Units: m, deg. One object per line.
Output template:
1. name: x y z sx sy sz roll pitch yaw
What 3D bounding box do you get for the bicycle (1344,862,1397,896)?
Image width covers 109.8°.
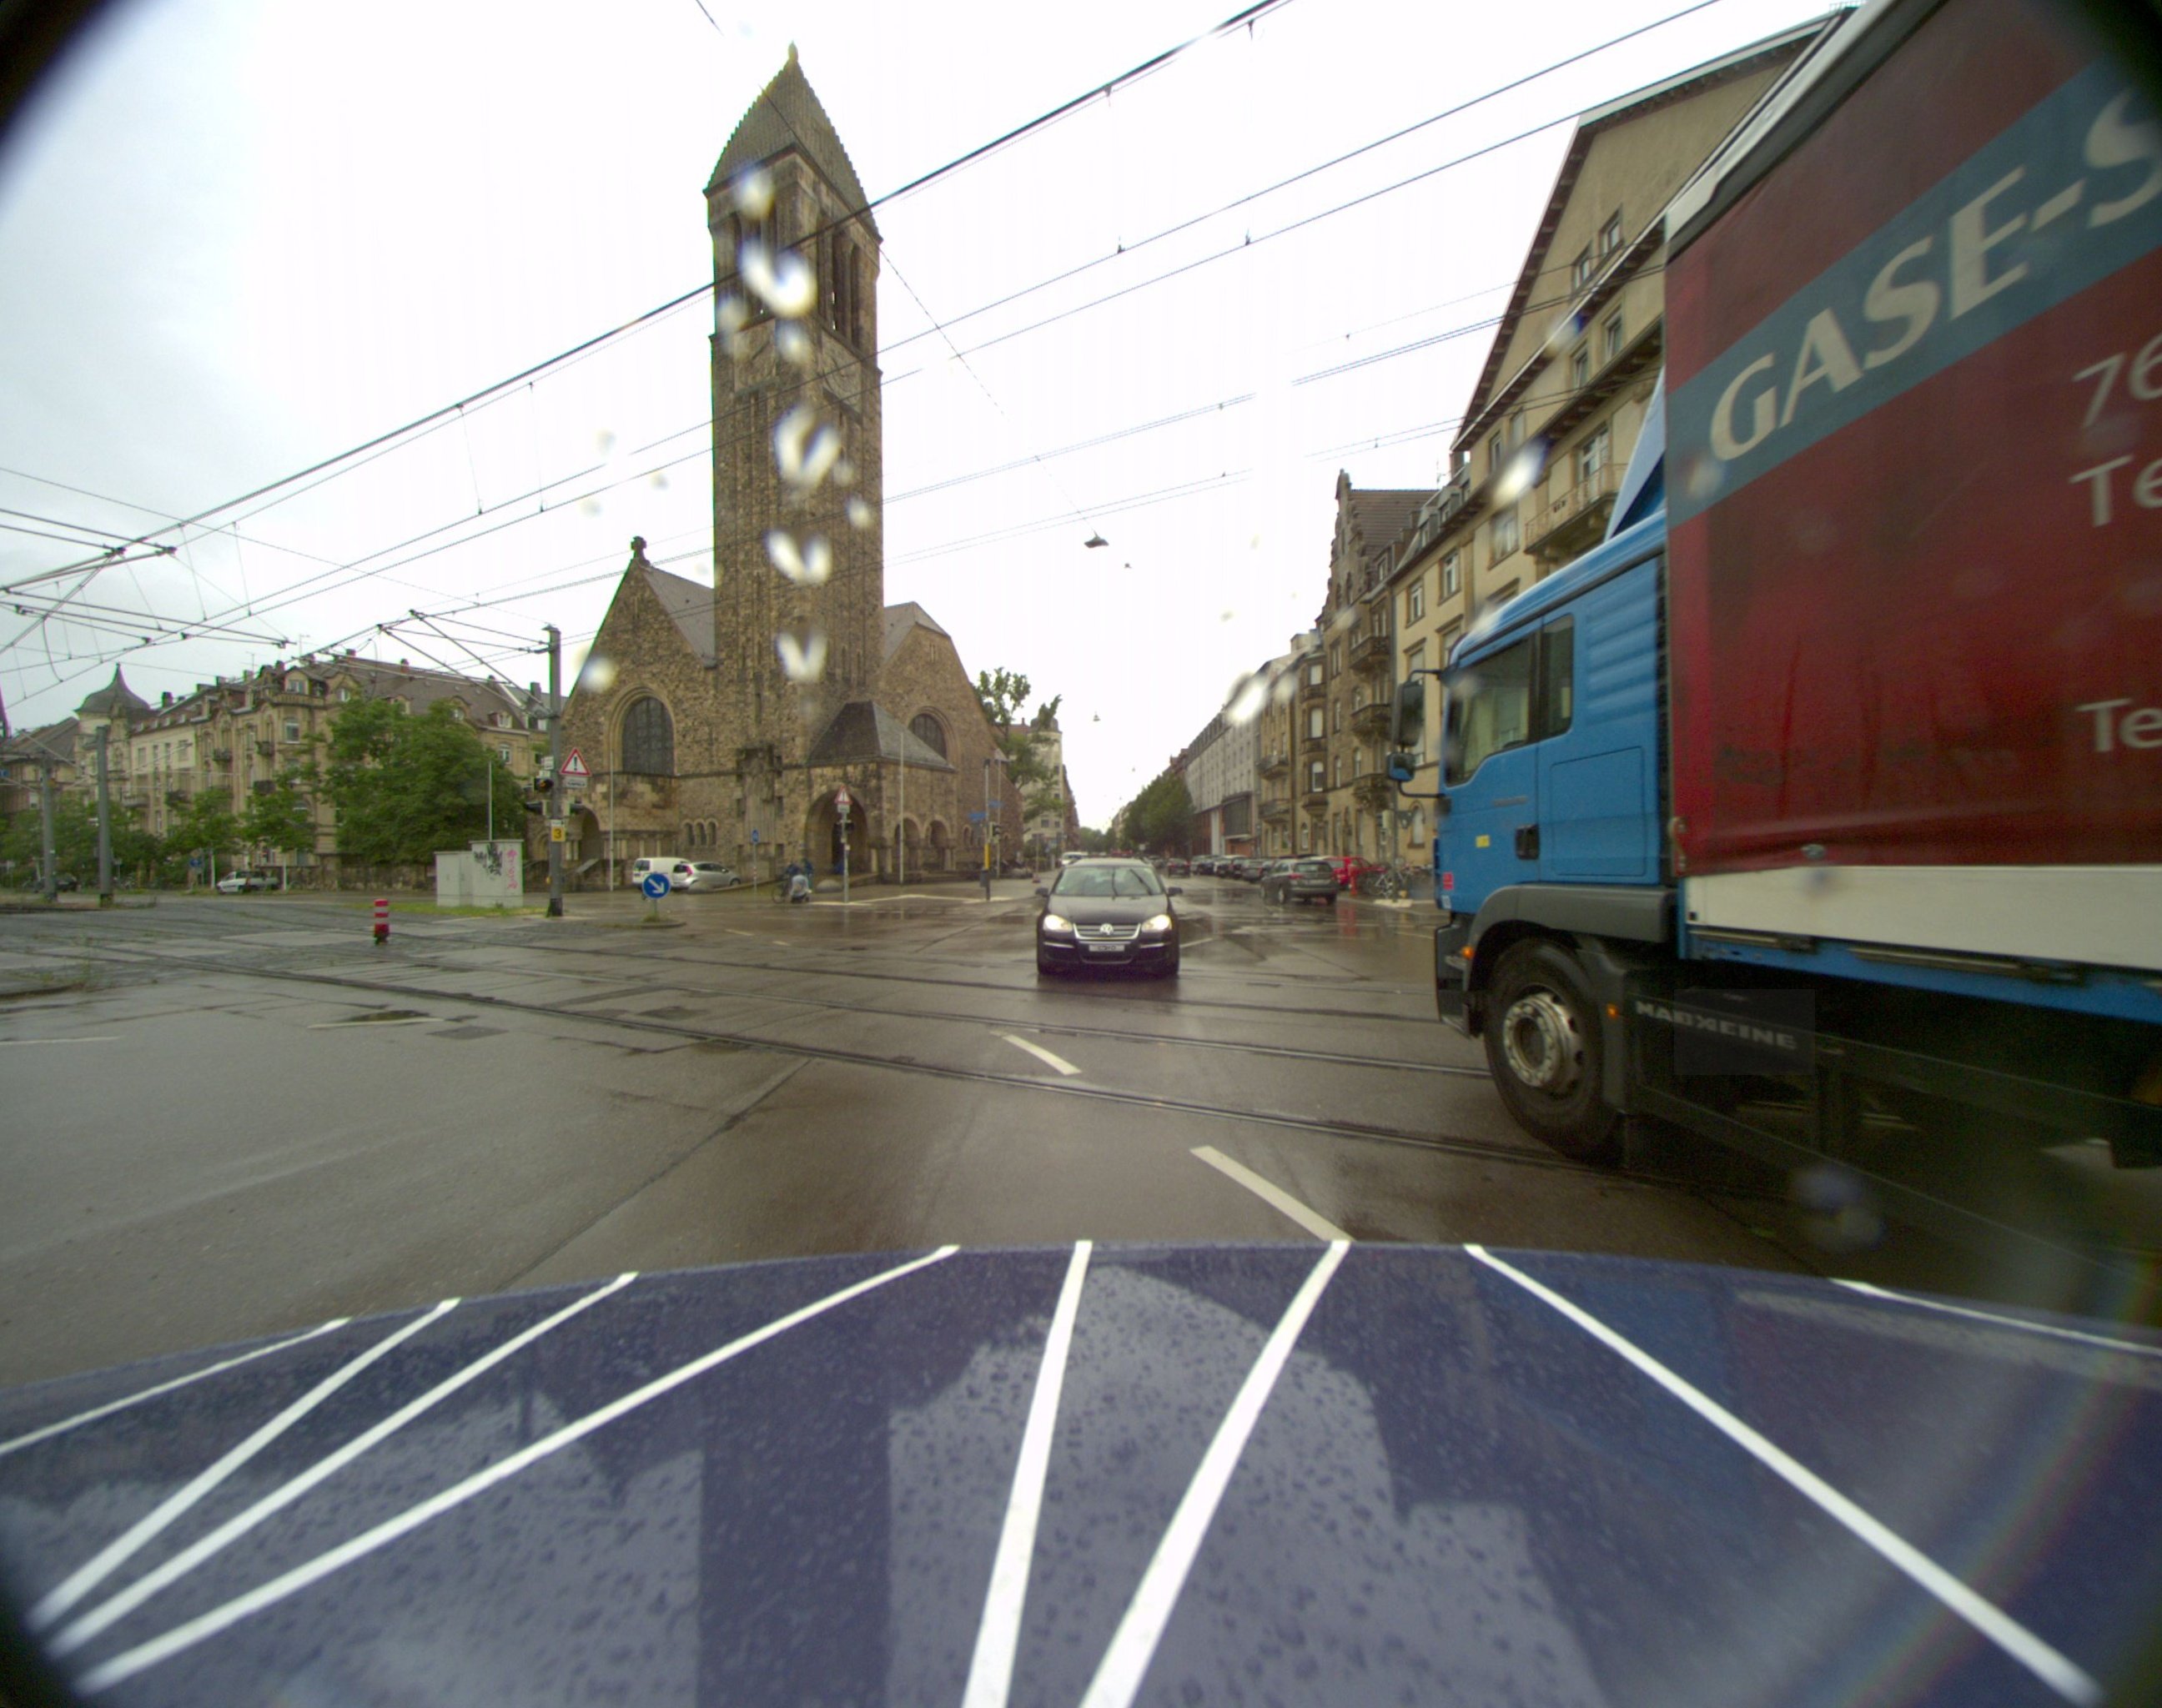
1. bicycle: 11.686 1.006 30.682 1.814 1.177 0.600 -5 0 7

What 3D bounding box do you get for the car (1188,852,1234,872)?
1. car: 11.382 0.672 66.498 3.931 1.719 1.811 0 1 -40

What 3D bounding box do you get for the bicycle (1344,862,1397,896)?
1. bicycle: 11.342 0.976 29.819 1.815 1.178 0.475 -5 1 0

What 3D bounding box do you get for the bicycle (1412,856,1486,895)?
1. bicycle: 13.012 0.744 26.915 2.347 1.338 0.640 -1 0 -4

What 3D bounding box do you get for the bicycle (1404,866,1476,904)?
1. bicycle: 13.010 1.125 27.572 2.347 1.338 0.640 -1 0 -4

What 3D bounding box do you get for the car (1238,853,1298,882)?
1. car: 11.214 0.822 45.568 3.436 1.535 1.697 -3 0 -38

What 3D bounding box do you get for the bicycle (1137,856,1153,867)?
1. bicycle: 7.279 0.902 86.986 1.687 1.067 0.544 -6 1 -2

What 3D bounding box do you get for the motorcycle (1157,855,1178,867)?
1. motorcycle: 9.519 0.757 83.517 2.255 1.302 0.758 -2 1 1

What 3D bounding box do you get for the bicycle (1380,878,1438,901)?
1. bicycle: 11.235 1.195 26.085 1.044 0.660 1.475 -4 2 -30

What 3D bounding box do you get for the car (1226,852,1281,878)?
1. car: 11.763 0.741 51.707 3.765 1.535 1.624 -3 0 -39

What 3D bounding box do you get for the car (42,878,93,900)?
1. car: -86.106 2.969 64.553 3.990 1.766 1.784 -1 1 25

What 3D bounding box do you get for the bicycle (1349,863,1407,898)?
1. bicycle: 11.245 0.990 28.794 1.985 1.178 0.475 -4 1 -2

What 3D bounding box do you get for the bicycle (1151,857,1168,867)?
1. bicycle: 8.828 0.863 85.456 1.687 1.067 0.544 -3 1 -2

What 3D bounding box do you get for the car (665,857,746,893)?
1. car: -19.790 1.085 40.133 1.732 1.565 3.362 -1 4 27

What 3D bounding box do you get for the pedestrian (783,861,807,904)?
1. pedestrian: -11.263 1.109 29.936 0.604 1.654 0.689 -1 0 4

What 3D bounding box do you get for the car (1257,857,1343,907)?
1. car: 7.425 0.879 26.174 1.730 1.537 4.340 0 0 1

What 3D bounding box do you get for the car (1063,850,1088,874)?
1. car: -0.429 0.631 63.557 1.909 1.911 5.272 0 0 1

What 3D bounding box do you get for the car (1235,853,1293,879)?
1. car: 11.772 0.768 48.829 3.449 1.535 1.624 -3 0 -35

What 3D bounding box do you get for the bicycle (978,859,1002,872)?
1. bicycle: -7.246 0.905 60.451 1.923 1.054 0.582 0 1 23

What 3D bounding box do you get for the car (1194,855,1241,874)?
1. car: 11.425 0.828 63.417 3.734 1.518 1.713 0 1 -34

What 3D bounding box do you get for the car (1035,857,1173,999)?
1. car: 0.299 0.843 10.538 1.547 1.553 4.071 0 0 1

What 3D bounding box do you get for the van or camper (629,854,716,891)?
1. van or camper: -22.510 0.972 42.063 1.644 1.719 3.934 0 4 25

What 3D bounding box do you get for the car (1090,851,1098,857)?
1. car: 3.760 -0.040 214.863 1.998 1.705 4.376 0 0 5

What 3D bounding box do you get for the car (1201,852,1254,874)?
1. car: 11.708 0.680 60.777 3.732 1.519 1.897 -4 2 -30

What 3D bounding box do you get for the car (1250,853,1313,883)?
1. car: 11.252 0.793 42.600 3.316 1.516 1.697 -3 0 -37

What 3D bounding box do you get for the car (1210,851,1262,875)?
1. car: 11.853 0.657 57.960 3.734 1.617 1.774 -3 0 -37

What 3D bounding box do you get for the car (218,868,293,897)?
1. car: -53.884 1.825 49.584 3.990 1.783 1.983 0 1 22

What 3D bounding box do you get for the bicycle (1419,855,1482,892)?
1. bicycle: 13.660 0.724 28.117 2.063 1.338 0.584 -1 0 -4

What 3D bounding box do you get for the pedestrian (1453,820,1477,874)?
1. pedestrian: 16.652 -0.307 32.956 0.846 2.326 0.765 0 1 23

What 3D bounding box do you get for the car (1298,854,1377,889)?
1. car: 12.496 0.831 36.901 4.001 1.524 1.700 -2 0 -38

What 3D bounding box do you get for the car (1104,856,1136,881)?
1. car: 2.228 0.818 44.493 1.766 1.430 3.748 0 0 1

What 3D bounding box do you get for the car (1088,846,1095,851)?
1. car: 3.389 -1.728 237.893 1.837 1.827 4.001 0 0 5

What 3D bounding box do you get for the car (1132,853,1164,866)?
1. car: 8.946 0.693 101.414 3.802 1.705 1.998 0 0 -9

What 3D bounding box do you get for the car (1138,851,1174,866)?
1. car: 9.234 0.595 93.617 4.005 1.804 1.996 0 1 -25

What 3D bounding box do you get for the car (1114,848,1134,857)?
1. car: 9.232 -0.319 162.447 3.809 1.705 1.995 0 1 -32

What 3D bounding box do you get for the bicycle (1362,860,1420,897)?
1. bicycle: 11.518 0.904 28.250 1.980 1.322 0.438 -1 0 3

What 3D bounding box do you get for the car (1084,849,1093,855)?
1. car: 1.873 -0.532 193.892 1.998 1.705 3.803 0 0 5

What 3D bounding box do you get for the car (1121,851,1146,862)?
1. car: 9.367 0.405 134.686 4.006 2.002 1.995 0 1 -27

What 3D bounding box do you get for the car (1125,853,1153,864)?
1. car: 8.742 0.650 114.312 3.802 1.705 1.998 0 0 -9

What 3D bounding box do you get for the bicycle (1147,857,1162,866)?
1. bicycle: 8.641 0.879 89.223 1.687 1.067 0.544 -1 1 -2

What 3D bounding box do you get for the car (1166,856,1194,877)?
1. car: 7.639 0.939 58.992 1.747 1.537 3.779 0 0 1

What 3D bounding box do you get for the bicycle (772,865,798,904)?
1. bicycle: -11.702 1.182 30.121 0.533 1.458 1.939 -1 0 -8

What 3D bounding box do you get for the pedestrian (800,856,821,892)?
1. pedestrian: -12.879 0.930 36.183 0.632 1.693 0.679 0 1 21

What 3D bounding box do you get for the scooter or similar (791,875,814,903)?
1. scooter or similar: -10.866 1.372 29.644 0.514 1.042 0.924 -1 0 4

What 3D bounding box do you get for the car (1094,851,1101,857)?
1. car: 4.985 -0.045 229.310 1.998 1.705 4.376 0 0 5

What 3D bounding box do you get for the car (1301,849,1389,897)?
1. car: 11.772 0.815 33.751 4.005 1.499 1.800 -9 0 -41

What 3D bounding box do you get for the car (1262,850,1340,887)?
1. car: 11.464 0.726 39.511 4.092 1.682 1.760 -3 0 -38

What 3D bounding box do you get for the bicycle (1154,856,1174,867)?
1. bicycle: 9.220 0.813 84.490 2.049 1.165 0.773 -3 1 -2

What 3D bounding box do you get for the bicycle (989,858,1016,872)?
1. bicycle: -6.422 0.883 61.971 2.150 1.054 0.679 0 1 23

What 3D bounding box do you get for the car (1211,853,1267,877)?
1. car: 11.372 0.755 54.707 3.733 1.535 1.774 -3 0 -34

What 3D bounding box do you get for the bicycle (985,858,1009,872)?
1. bicycle: -6.770 0.891 61.254 1.923 1.054 0.582 0 1 23

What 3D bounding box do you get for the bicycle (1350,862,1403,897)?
1. bicycle: 11.375 0.979 29.252 1.815 1.178 0.468 -4 1 -1

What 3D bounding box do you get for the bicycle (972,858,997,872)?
1. bicycle: -7.583 0.886 59.720 1.924 1.054 0.582 0 1 20

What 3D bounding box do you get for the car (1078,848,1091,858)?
1. car: 0.615 -0.169 115.449 1.921 1.470 4.221 0 0 1

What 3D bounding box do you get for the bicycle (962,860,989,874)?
1. bicycle: -8.163 0.987 58.783 2.005 1.043 0.577 0 1 18

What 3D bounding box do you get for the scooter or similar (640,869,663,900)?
1. scooter or similar: -19.057 1.346 33.720 1.101 1.379 0.287 -1 0 24

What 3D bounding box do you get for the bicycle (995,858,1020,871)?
1. bicycle: -6.107 0.863 62.894 1.978 1.060 0.607 0 1 23

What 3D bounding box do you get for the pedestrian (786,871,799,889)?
1. pedestrian: -14.356 1.306 37.843 0.455 0.879 0.397 0 1 21

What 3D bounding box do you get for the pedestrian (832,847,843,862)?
1. pedestrian: -14.513 0.021 45.313 0.395 0.879 0.457 0 1 24
